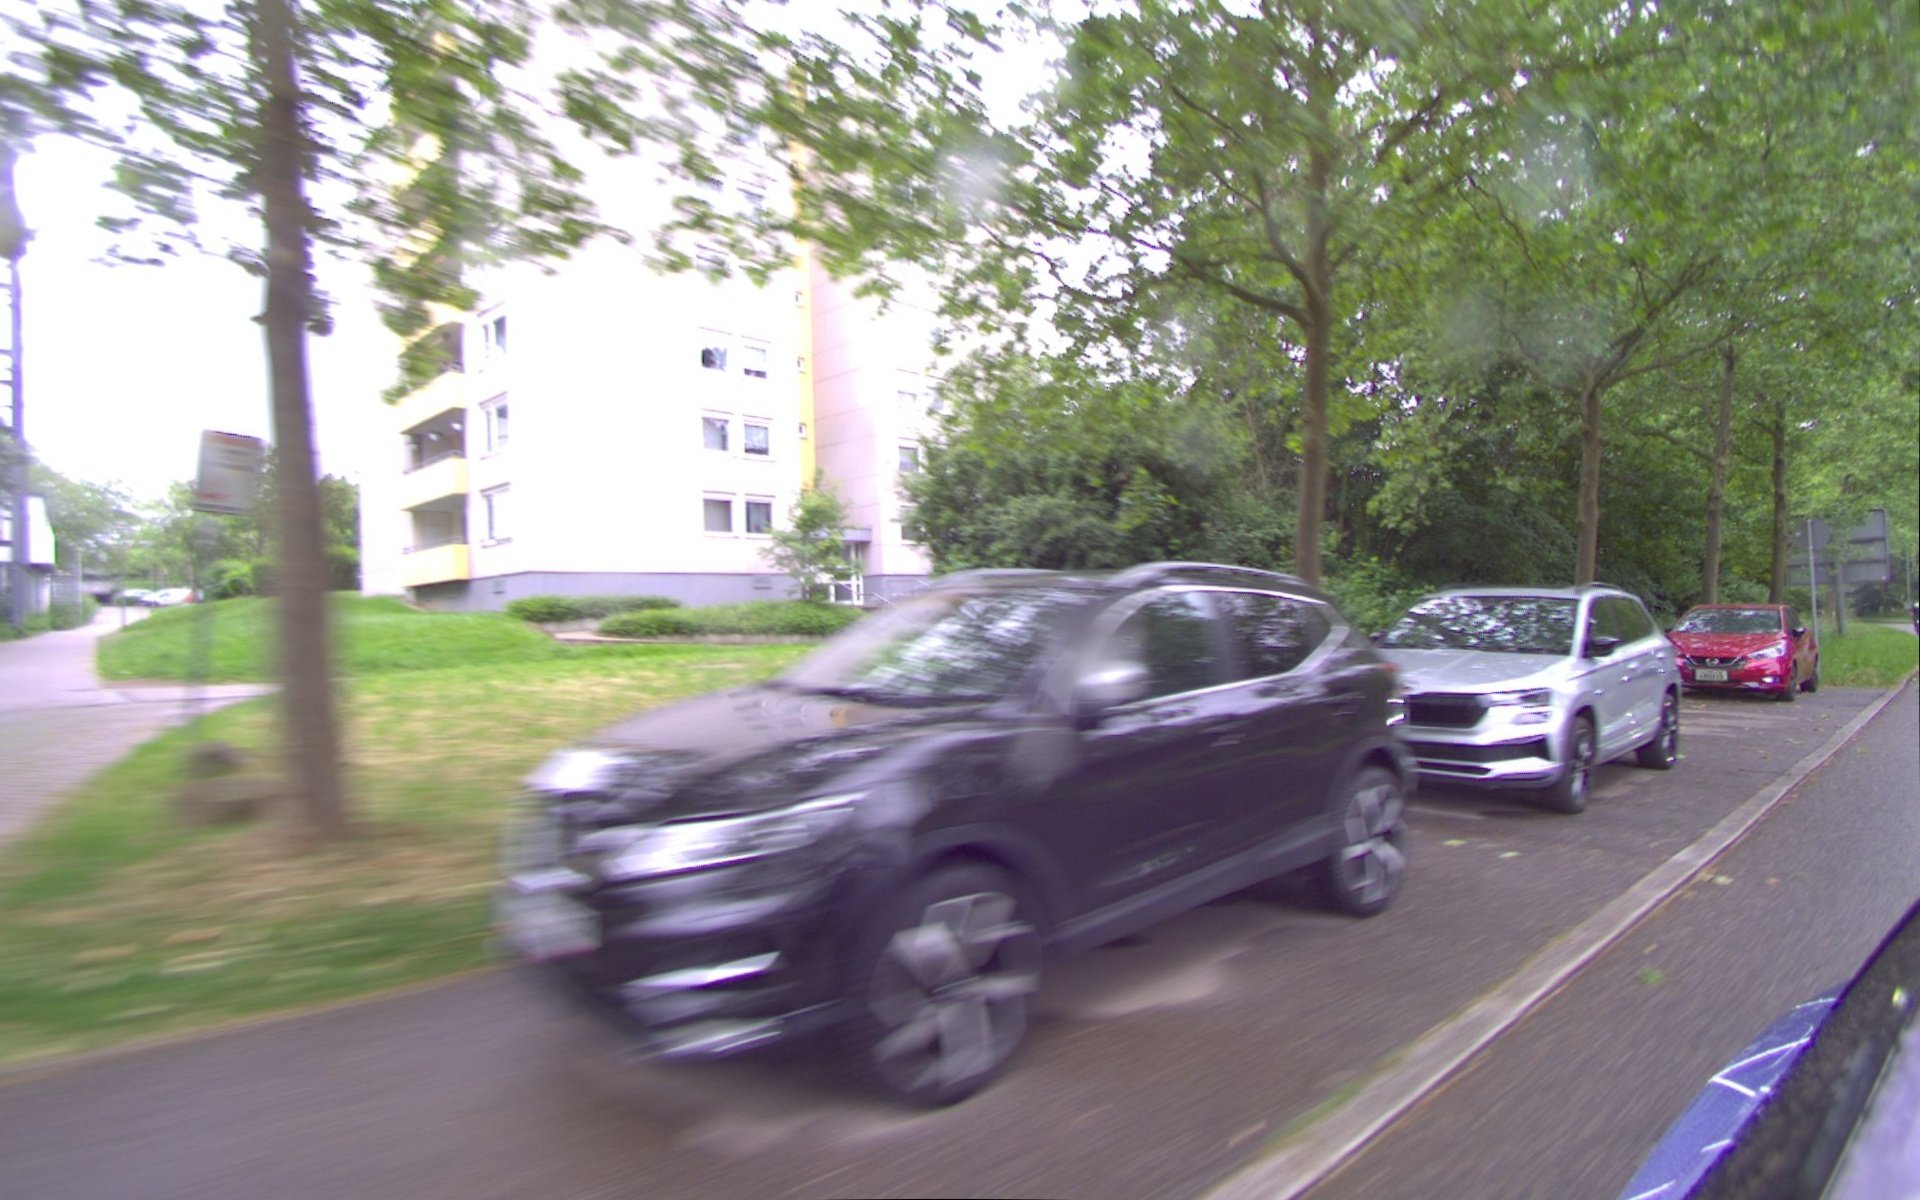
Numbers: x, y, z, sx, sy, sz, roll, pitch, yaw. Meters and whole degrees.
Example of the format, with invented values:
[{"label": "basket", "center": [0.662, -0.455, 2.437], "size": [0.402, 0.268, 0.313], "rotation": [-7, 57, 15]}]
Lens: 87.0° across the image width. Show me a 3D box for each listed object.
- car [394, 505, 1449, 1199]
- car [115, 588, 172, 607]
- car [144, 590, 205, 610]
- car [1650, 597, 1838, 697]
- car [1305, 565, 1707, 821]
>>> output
[{"label": "car", "center": [0.236, 0.598, 4.255], "size": [4.296, 1.622, 1.803], "rotation": [-1, 0, -42]}, {"label": "car", "center": [-88.458, -0.256, 109.616], "size": [4.757, 1.942, 1.997], "rotation": [-1, -1, -41]}, {"label": "car", "center": [-83.556, -0.056, 107.675], "size": [5.088, 2.039, 1.997], "rotation": [-1, -1, -41]}, {"label": "car", "center": [12.515, 0.656, 16.087], "size": [3.681, 1.389, 1.799], "rotation": [0, 0, -43]}, {"label": "car", "center": [4.705, 0.561, 8.429], "size": [4.181, 1.611, 1.730], "rotation": [0, 1, -43]}]
